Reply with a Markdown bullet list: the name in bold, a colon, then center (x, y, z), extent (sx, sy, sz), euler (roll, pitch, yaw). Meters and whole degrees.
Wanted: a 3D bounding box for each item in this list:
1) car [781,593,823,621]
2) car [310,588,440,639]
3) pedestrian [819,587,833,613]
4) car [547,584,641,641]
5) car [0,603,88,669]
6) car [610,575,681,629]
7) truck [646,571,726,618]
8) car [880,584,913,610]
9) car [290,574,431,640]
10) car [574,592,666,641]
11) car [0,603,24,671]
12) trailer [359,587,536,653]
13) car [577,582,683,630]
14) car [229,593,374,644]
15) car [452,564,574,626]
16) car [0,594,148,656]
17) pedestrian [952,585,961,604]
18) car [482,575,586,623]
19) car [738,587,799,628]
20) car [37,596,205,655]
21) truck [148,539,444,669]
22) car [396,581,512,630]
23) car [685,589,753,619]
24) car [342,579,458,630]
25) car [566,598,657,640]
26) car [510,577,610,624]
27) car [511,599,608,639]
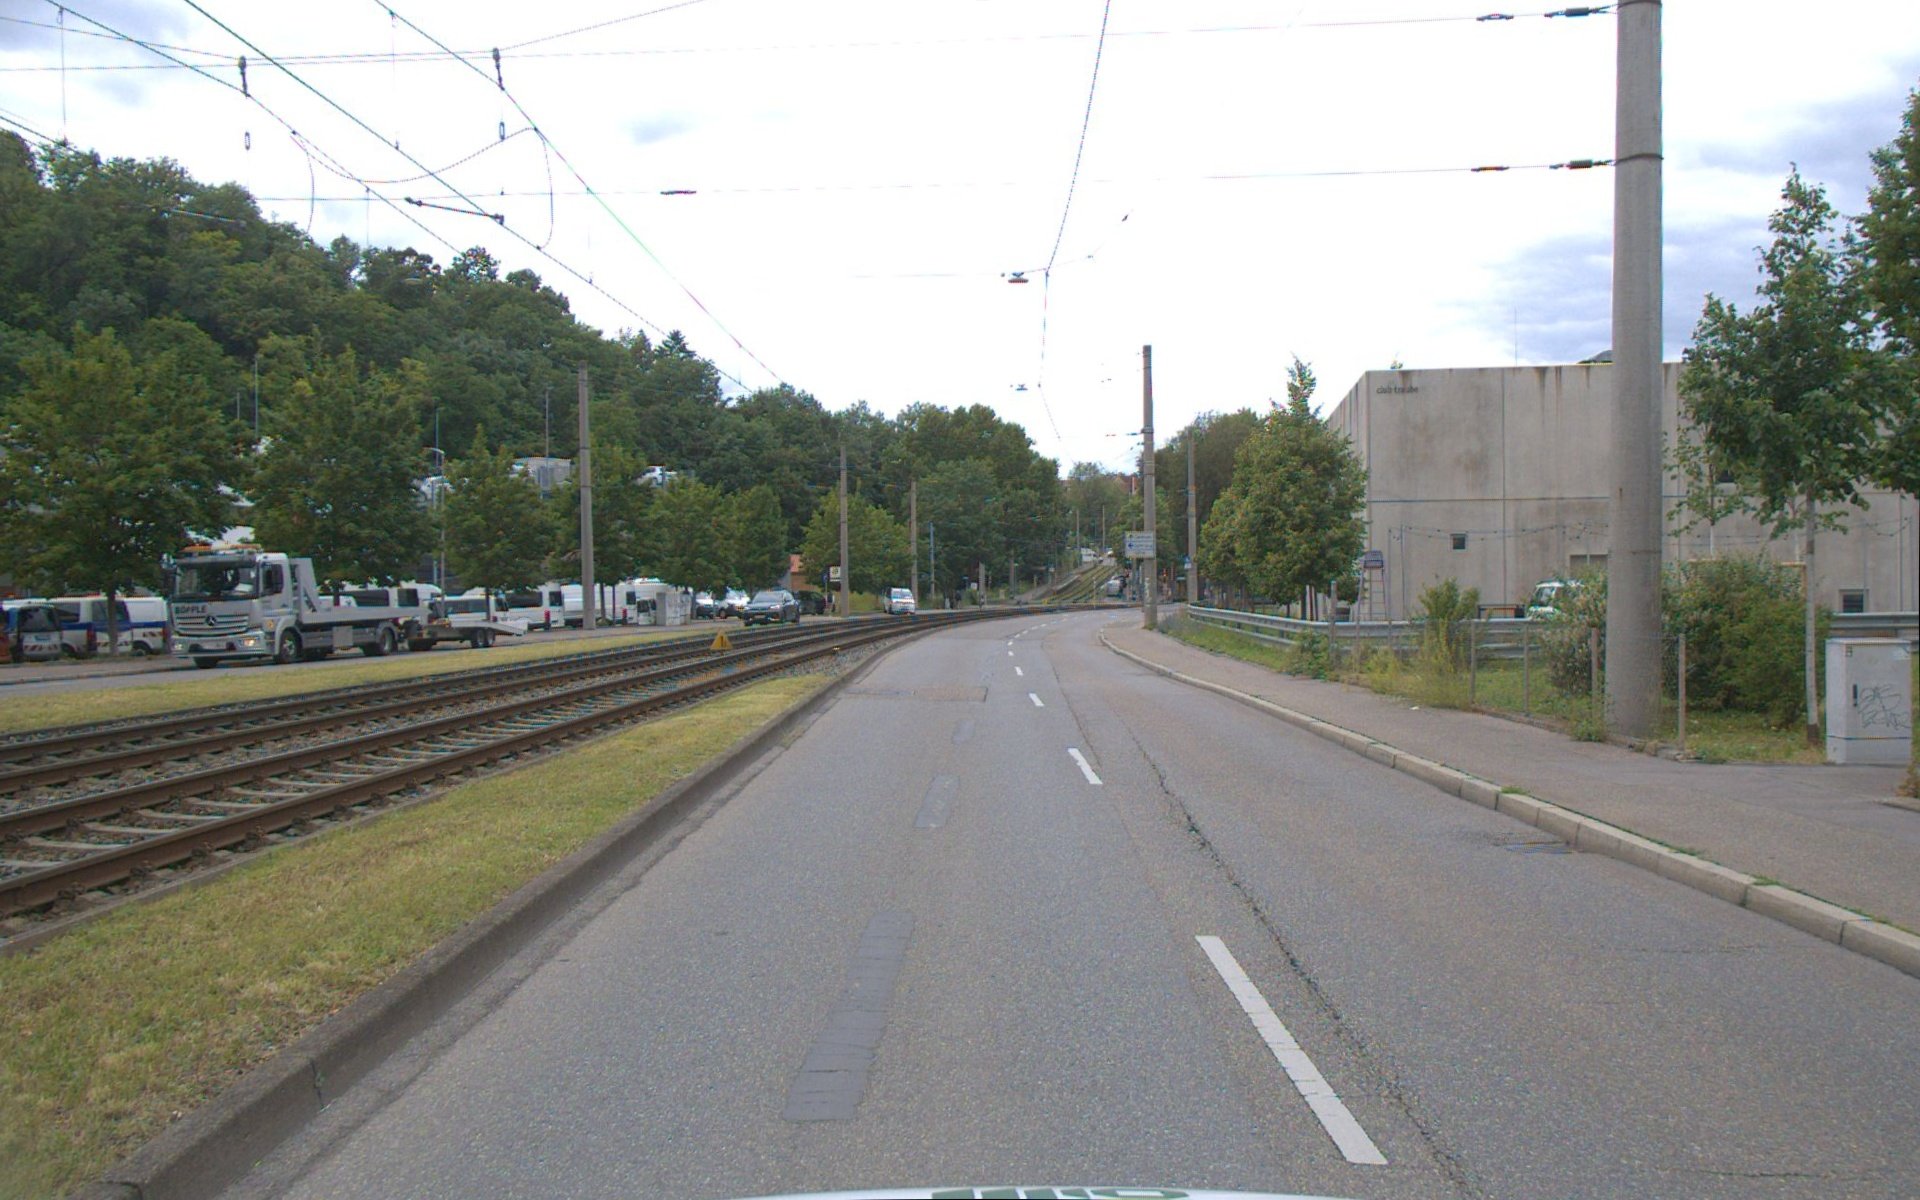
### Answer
- **car**: center (-11.871, 0.502, 124.615), extent (1.951, 2.049, 5.134), euler (-1, 0, 8)
- **car**: center (-22.414, 0.509, 63.456), extent (4.272, 1.877, 2.006), euler (0, 0, 11)
- **pedestrian**: center (-8.885, 0.009, 109.662), extent (0.703, 1.684, 1.043), euler (2, 1, 3)
- **car**: center (-18.781, 0.635, 84.971), extent (4.273, 2.868, 2.005), euler (0, 0, 6)
- **car**: center (-25.071, 0.916, 42.950), extent (3.901, 1.646, 2.002), euler (0, 0, 11)
- **car**: center (-18.692, 0.089, 98.616), extent (2.062, 3.072, 5.942), euler (-1, 0, 12)
- **truck**: center (-18.696, -0.340, 112.800), extent (5.827, 3.139, 2.109), euler (-1, 0, 40)
- **car**: center (-4.968, -0.235, 128.589), extent (2.118, 1.921, 5.066), euler (2, 0, -6)
- **car**: center (-21.981, 0.269, 60.698), extent (4.400, 2.352, 2.127), euler (0, 0, 11)
- **car**: center (-18.464, 0.881, 89.927), extent (4.276, 2.140, 2.005), euler (7, 1, 6)
- **car**: center (-25.415, 0.926, 40.574), extent (3.901, 1.646, 2.002), euler (0, 0, 11)
- **trailer**: center (-15.237, 0.553, 49.739), extent (2.332, 1.728, 6.953), euler (-2, 0, 7)
- **car**: center (-18.517, 0.331, 92.837), extent (5.355, 2.647, 2.249), euler (0, 0, 10)
- **car**: center (-23.080, 0.627, 58.043), extent (4.273, 1.718, 2.033), euler (0, 0, 7)
- **car**: center (-20.180, -0.215, 74.764), extent (4.860, 2.746, 2.117), euler (0, 0, 6)
- **car**: center (-24.620, 0.677, 45.220), extent (3.901, 1.646, 2.002), euler (0, 0, 11)
- **pedestrian**: center (-0.356, -0.502, 154.654), extent (0.614, 1.743, 0.856), euler (1, 1, 12)
- **car**: center (-19.943, -0.056, 77.483), extent (4.273, 2.211, 2.005), euler (0, 0, 6)
- **car**: center (-8.788, 0.352, 76.394), extent (1.952, 1.770, 4.536), euler (-2, -1, 4)
- **car**: center (-24.127, 0.734, 47.607), extent (3.901, 1.646, 2.002), euler (0, 0, 11)
- **truck**: center (-16.364, 0.069, 41.735), extent (2.697, 2.789, 9.226), euler (-2, 0, 7)
- **car**: center (-21.608, 0.219, 70.743), extent (4.273, 2.045, 2.005), euler (0, 0, 6)
- **car**: center (-16.740, 0.271, 114.741), extent (4.638, 2.049, 1.992), euler (-1, 0, 37)
- **car**: center (-30.084, 0.242, 89.017), extent (5.845, 2.647, 1.993), euler (-1, 0, -20)
- **car**: center (-18.391, 0.979, 87.294), extent (4.273, 2.142, 2.005), euler (0, 0, 6)
- **car**: center (-19.284, 0.032, 79.821), extent (4.273, 2.211, 2.005), euler (0, 0, 6)
- **car**: center (-20.003, 0.939, 82.668), extent (4.273, 1.944, 2.005), euler (0, 0, 6)
